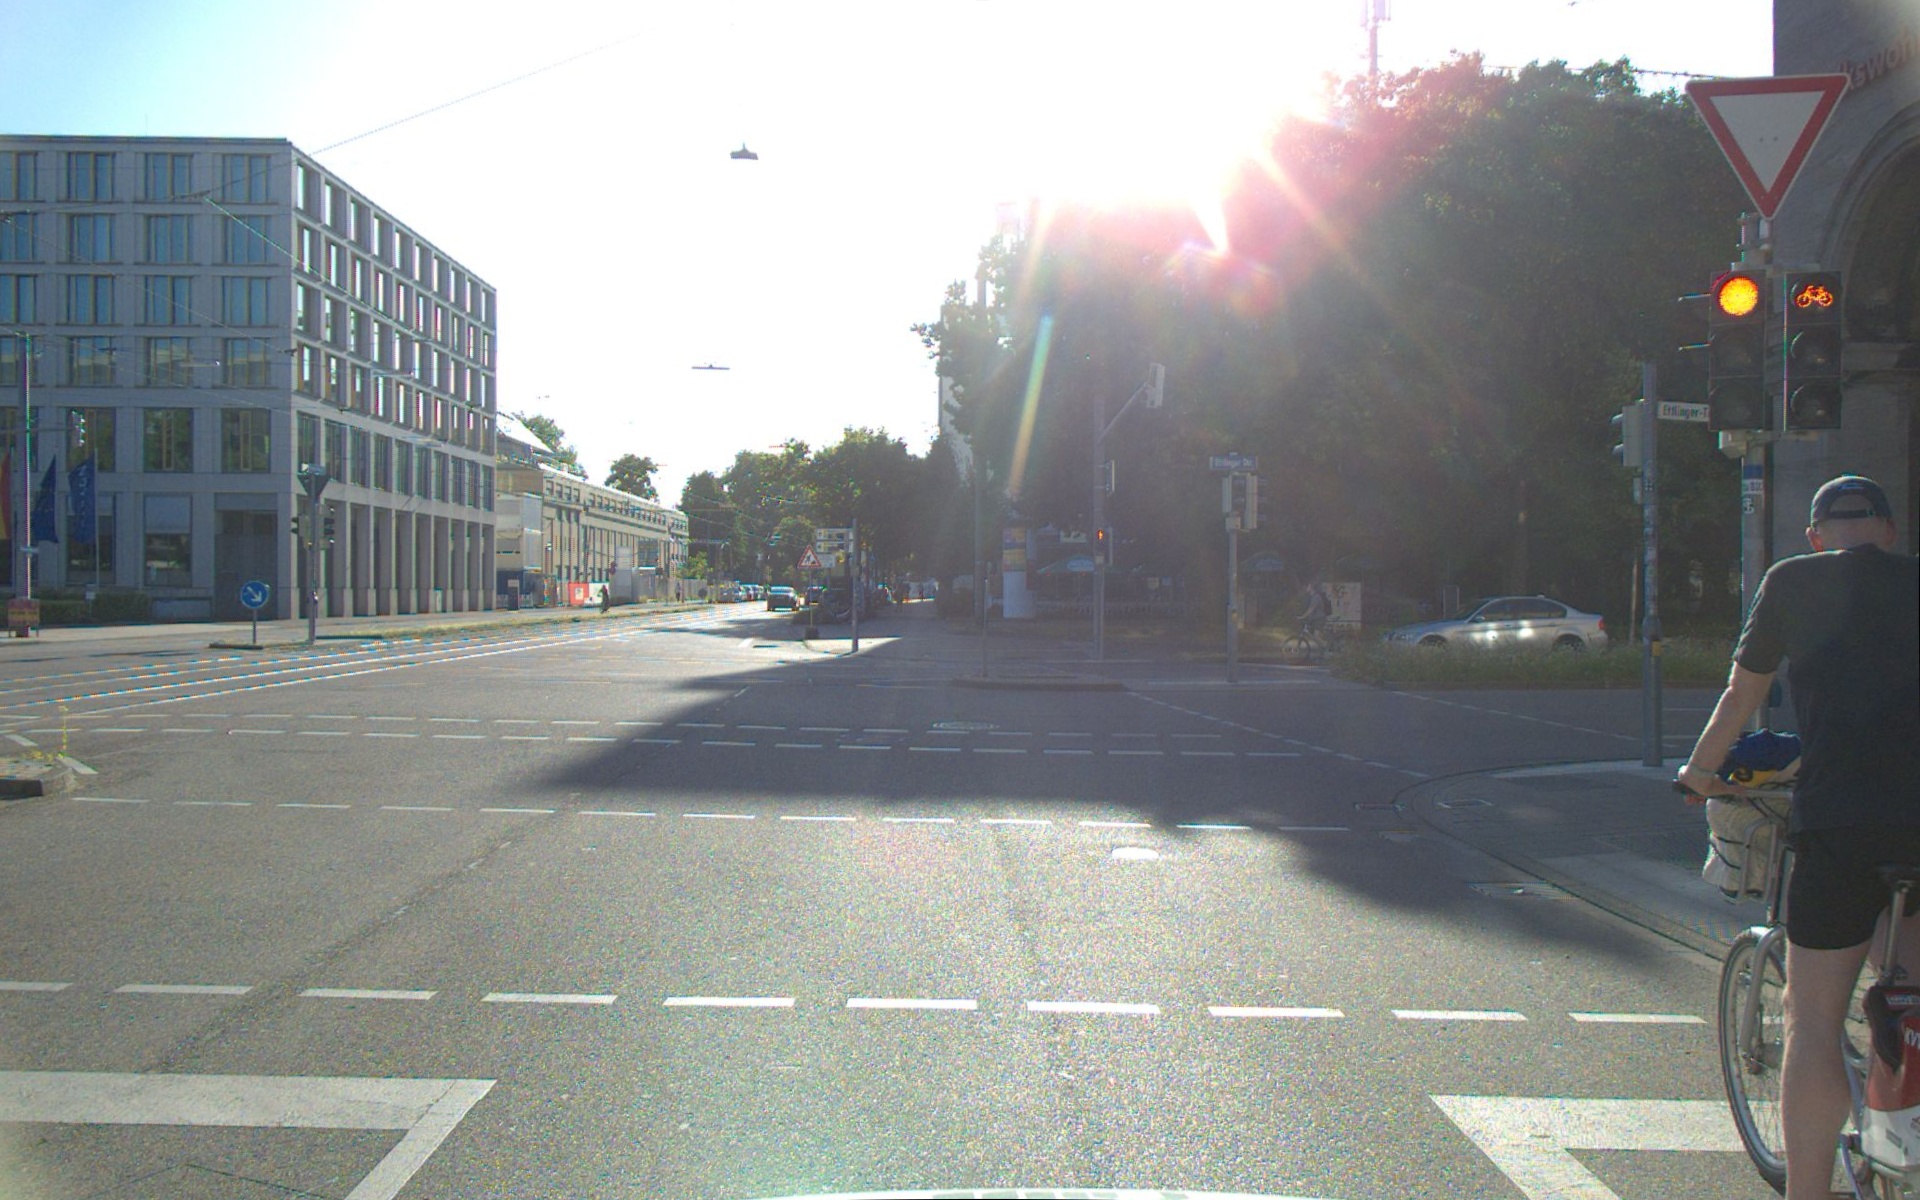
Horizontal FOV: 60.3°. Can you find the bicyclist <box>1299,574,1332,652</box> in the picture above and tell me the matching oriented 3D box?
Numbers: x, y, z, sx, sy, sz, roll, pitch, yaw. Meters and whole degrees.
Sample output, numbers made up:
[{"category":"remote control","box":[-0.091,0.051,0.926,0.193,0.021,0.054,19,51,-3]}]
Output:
[{"category":"bicyclist","box":[7.827,0.284,36.447,0.630,1.712,0.507,0,0,5]}]

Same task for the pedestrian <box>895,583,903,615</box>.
[{"category":"pedestrian","box":[-3.587,-0.055,97.680,0.454,1.845,0.502,0,0,-5]}]

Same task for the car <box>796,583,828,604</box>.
[{"category":"car","box":[-12.038,-0.551,134.941,1.853,1.592,4.810,3,1,3]}]

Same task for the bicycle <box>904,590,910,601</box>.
[{"category":"bicycle","box":[-4.936,-0.431,154.913,0.563,1.096,1.830,0,0,-1]}]

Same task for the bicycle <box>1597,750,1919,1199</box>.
[{"category":"bicycle","box":[2.074,0.985,3.886,0.505,1.096,1.728,1,0,1]}]

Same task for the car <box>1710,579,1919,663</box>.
[{"category":"car","box":[17.534,0.407,33.681,3.770,1.639,1.650,0,0,-1]}]

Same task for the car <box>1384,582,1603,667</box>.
[{"category":"car","box":[10.773,0.479,33.558,3.912,1.639,1.650,0,0,-1]}]

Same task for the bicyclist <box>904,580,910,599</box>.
[{"category":"bicyclist","box":[-4.935,-0.970,154.976,0.558,1.721,0.699,0,0,-1]}]

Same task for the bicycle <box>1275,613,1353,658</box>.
[{"category":"bicycle","box":[7.802,0.785,36.465,1.631,0.980,0.534,0,0,5]}]

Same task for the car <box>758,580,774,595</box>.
[{"category":"car","box":[-22.828,-1.436,194.358,1.659,1.748,4.244,1,0,-4]}]

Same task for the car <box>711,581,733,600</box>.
[{"category":"car","box":[-22.469,-0.898,156.109,1.659,1.748,4.244,1,0,-4]}]

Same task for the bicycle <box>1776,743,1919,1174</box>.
[{"category":"bicycle","box":[2.861,1.004,4.334,0.523,1.096,1.750,1,0,-2]}]

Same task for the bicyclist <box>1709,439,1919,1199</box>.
[{"category":"bicyclist","box":[2.092,0.582,3.728,0.547,1.830,0.550,1,0,1]}]

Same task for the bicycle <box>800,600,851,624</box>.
[{"category":"bicycle","box":[-5.485,0.509,67.380,1.976,0.907,0.650,-2,-1,27]}]

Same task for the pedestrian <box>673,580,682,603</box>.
[{"category":"pedestrian","box":[-25.288,-0.779,147.850,0.660,2.049,0.751,1,-1,-3]}]

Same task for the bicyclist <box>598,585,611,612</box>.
[{"category":"bicyclist","box":[-18.975,-0.087,88.302,0.584,1.401,0.637,1,-1,-2]}]

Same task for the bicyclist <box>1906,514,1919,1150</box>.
[{"category":"bicyclist","box":[2.886,0.631,4.227,0.546,1.721,0.640,1,0,-2]}]

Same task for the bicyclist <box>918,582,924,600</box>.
[{"category":"bicyclist","box":[-3.641,-0.833,155.075,0.558,1.721,0.699,0,0,-1]}]

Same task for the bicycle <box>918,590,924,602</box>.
[{"category":"bicycle","box":[-3.637,-0.408,155.043,0.563,1.096,1.830,0,0,-1]}]

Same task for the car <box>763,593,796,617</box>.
[{"category":"car","box":[-11.315,0.314,104.047,1.626,1.481,4.431,1,0,-1]}]

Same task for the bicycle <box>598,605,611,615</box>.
[{"category":"bicycle","box":[-18.975,0.544,88.297,0.491,0.524,1.257,1,0,-1]}]
